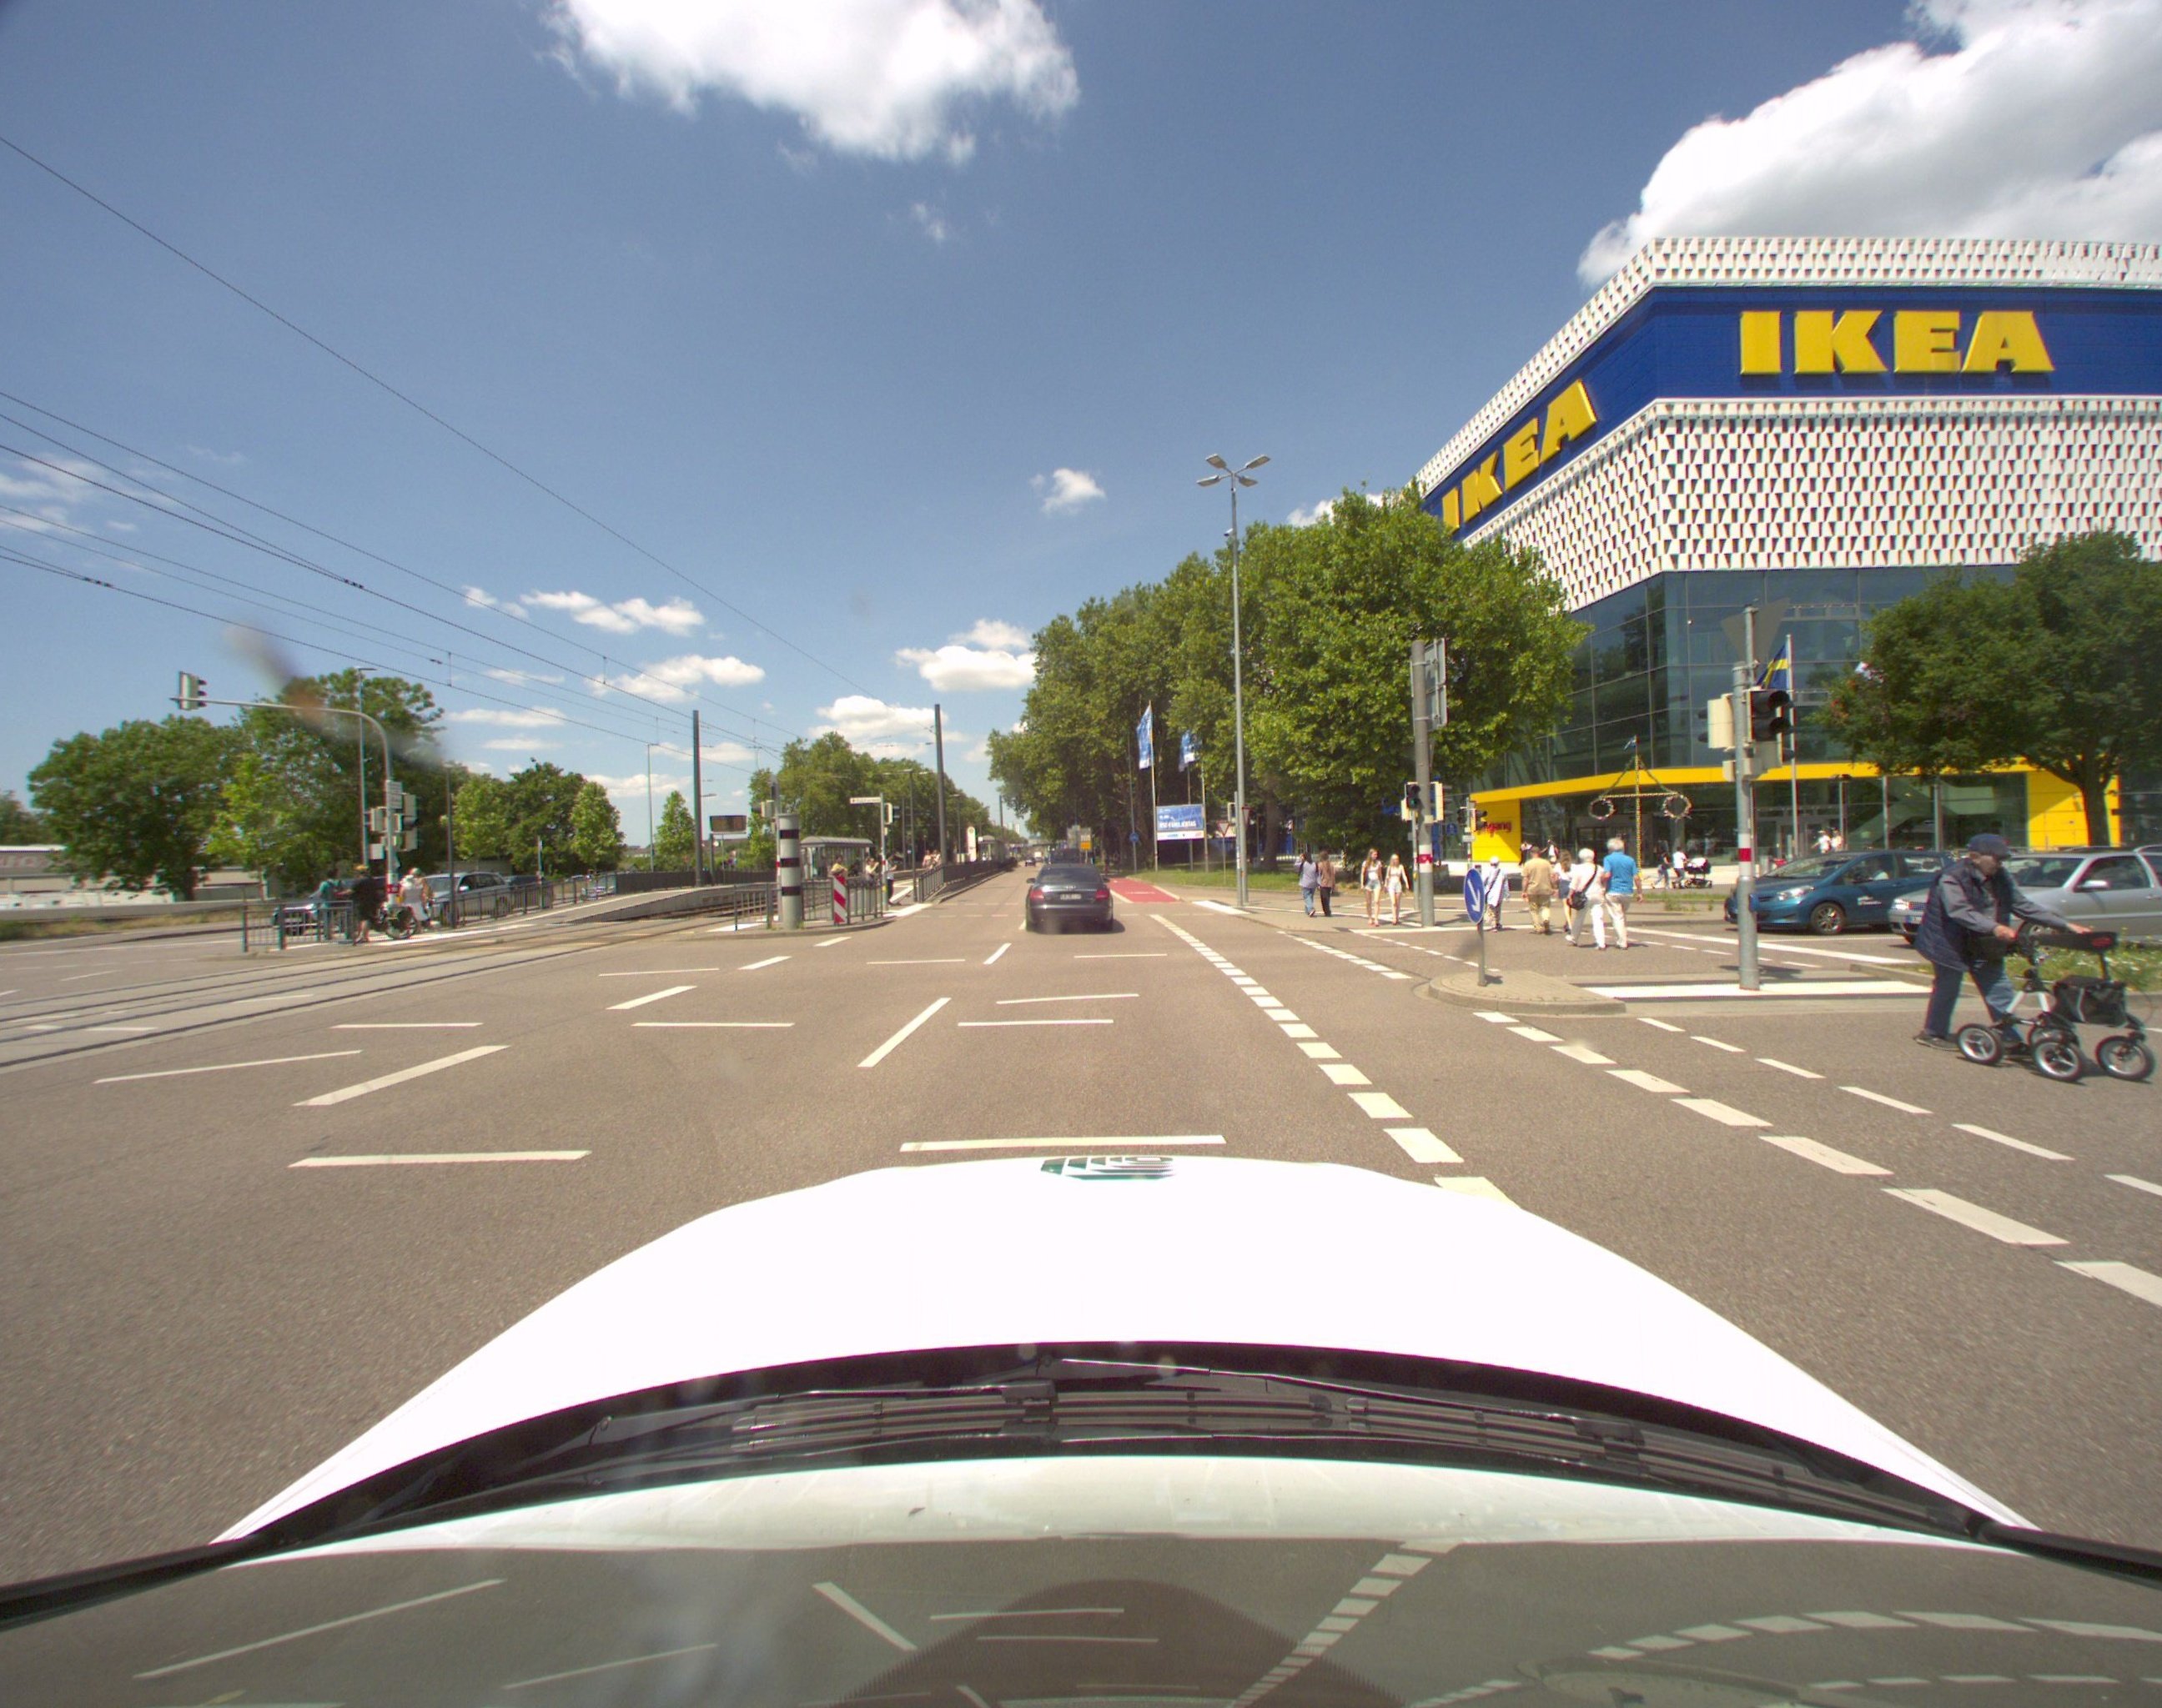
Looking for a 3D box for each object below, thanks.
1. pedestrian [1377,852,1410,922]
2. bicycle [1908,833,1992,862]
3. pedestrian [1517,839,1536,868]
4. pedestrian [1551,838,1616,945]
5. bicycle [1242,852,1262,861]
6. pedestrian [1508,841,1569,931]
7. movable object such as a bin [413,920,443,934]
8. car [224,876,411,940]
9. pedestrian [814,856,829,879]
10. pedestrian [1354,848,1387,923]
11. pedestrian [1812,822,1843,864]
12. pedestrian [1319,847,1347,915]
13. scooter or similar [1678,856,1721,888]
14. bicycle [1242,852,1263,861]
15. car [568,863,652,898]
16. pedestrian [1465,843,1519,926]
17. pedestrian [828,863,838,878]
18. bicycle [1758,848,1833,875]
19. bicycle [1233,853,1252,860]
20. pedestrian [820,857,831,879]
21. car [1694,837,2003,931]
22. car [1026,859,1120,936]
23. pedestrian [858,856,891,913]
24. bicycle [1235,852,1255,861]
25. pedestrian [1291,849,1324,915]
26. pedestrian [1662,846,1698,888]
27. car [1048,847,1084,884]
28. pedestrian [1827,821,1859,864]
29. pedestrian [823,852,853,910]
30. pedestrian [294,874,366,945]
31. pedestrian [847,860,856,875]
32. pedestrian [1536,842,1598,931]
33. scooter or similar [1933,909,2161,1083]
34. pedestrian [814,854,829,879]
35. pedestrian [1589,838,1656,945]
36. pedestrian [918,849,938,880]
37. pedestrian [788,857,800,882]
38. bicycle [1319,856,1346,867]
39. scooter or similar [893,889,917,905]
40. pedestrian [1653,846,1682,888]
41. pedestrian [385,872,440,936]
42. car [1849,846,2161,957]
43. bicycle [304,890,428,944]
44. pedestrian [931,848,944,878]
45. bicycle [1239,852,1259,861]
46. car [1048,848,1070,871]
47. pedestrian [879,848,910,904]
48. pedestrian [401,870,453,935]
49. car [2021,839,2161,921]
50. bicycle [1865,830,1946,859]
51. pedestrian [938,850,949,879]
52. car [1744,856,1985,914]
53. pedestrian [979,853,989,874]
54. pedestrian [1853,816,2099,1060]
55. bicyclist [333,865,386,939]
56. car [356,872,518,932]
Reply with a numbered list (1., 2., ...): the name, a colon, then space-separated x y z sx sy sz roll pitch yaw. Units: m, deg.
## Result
1. pedestrian: 7.211 0.750 18.806 0.525 1.580 0.612 -1 0 1
2. bicycle: 38.059 -0.270 35.702 0.801 1.199 2.420 -1 0 -16
3. pedestrian: 27.360 -0.041 50.040 0.776 1.736 0.743 -1 0 9
4. pedestrian: 7.967 0.591 12.947 0.601 1.638 0.867 -1 -2 14
5. bicycle: 22.645 0.320 107.799 2.543 1.111 0.756 -1 0 -8
6. pedestrian: 8.673 0.598 15.476 0.789 1.659 0.855 -1 0 14
7. movable object such as a bin: -17.342 1.934 21.639 0.570 0.321 0.228 -2 0 -7
8. car: -23.213 1.581 25.002 1.988 1.629 3.998 -1 0 -2
9. pedestrian: -18.928 0.976 59.414 0.817 1.638 0.582 -2 0 34
10. pedestrian: 6.607 0.709 18.608 0.525 1.666 0.640 -1 0 2
11. pedestrian: 36.195 -0.540 39.494 0.792 2.013 0.735 -1 0 9
12. pedestrian: 6.427 0.682 20.800 0.618 1.683 0.729 -1 0 15
13. scooter or similar: 23.700 0.667 31.223 1.072 1.198 0.727 -1 0 -5
14. bicycle: 22.487 0.311 106.725 2.543 1.111 0.756 -1 0 -8
15. car: -23.788 1.305 41.343 1.988 1.629 3.998 -1 0 -1
16. pedestrian: 8.381 0.612 16.637 0.789 1.659 0.855 -1 0 14
17. pedestrian: -18.886 1.274 62.068 0.575 1.094 0.638 -2 0 -2
18. bicycle: 31.426 0.320 35.887 0.801 1.145 2.420 -1 0 -16
19. bicycle: 22.094 0.360 111.485 2.543 0.970 0.756 -1 0 -8
20. pedestrian: -18.887 1.036 60.187 0.575 1.533 0.638 -2 0 -2
21. car: 13.994 0.515 15.013 3.979 1.555 1.997 -1 0 -4
22. car: -0.296 0.878 18.174 1.839 1.484 3.994 -1 0 -4
23. pedestrian: -5.797 0.847 22.880 0.784 1.572 0.763 -1 0 -6
24. bicycle: 22.211 0.347 110.221 2.543 1.111 0.756 -1 0 -8
25. pedestrian: 5.636 0.683 20.281 0.759 1.606 0.900 -1 0 15
26. pedestrian: 22.852 0.490 31.077 0.917 1.586 0.632 -1 0 -8
27. car: -0.802 0.608 44.876 1.843 1.959 4.143 -1 0 -1
28. pedestrian: 36.053 -0.548 38.553 0.793 2.013 0.734 -1 0 5
29. pedestrian: -7.178 0.790 24.080 0.731 1.673 0.677 -1 0 -6
30. pedestrian: -17.989 1.315 19.527 0.955 1.610 0.762 -1 0 -5
31. pedestrian: -19.633 1.145 69.621 0.575 1.190 0.638 -2 0 -2
32. pedestrian: 9.396 0.614 15.767 0.789 1.659 0.855 -1 0 14
33. scooter or similar: 6.587 0.920 5.539 0.686 1.031 0.864 -1 0 4
34. pedestrian: -18.479 0.911 57.995 0.729 1.729 0.582 -2 0 34
35. pedestrian: 8.549 0.586 12.888 0.598 1.638 0.867 -1 -2 14
36. pedestrian: -8.053 0.538 42.826 0.888 1.605 0.923 -1 0 -4
37. pedestrian: -18.583 0.996 52.671 0.557 1.638 0.804 -1 0 -10
38. bicycle: 22.410 0.651 72.619 2.058 0.969 0.867 -1 0 -7
39. scooter or similar: -5.882 1.432 27.227 0.725 0.506 0.456 -1 0 -6
40. pedestrian: 22.824 0.497 31.709 0.609 1.586 0.632 -1 0 -8
41. pedestrian: -17.027 1.264 20.760 0.760 1.548 0.762 -1 0 -5
42. car: 13.717 0.617 11.644 3.812 1.397 1.803 -1 0 -1
43. bicycle: -16.266 1.412 18.581 1.977 1.101 0.760 -1 0 -18
44. pedestrian: -8.146 0.489 46.251 0.612 1.681 0.719 -1 0 -5
45. bicycle: 22.468 0.333 108.977 2.543 1.111 0.756 -1 0 -8
46. car: -1.904 0.468 71.426 1.843 1.959 4.143 -1 0 -1
47. pedestrian: -6.168 0.726 26.986 0.861 1.802 0.881 -1 0 -7
48. pedestrian: -17.693 1.300 22.051 0.760 1.672 0.762 -1 0 -5
49. car: 20.928 0.439 15.408 4.391 1.443 1.851 -1 0 -4
50. bicycle: 36.342 -0.410 35.933 0.801 1.199 2.420 -1 0 -16
51. pedestrian: -7.595 0.582 44.986 0.496 1.577 0.556 -2 0 -4
52. car: 20.142 0.788 21.119 4.282 1.418 1.736 -1 -1 8
53. pedestrian: -7.921 0.790 66.839 0.731 1.665 0.741 -1 0 -4
54. pedestrian: 6.612 0.581 6.085 0.778 1.672 0.948 -1 0 4
55. bicyclist: -16.321 1.063 18.442 0.666 1.615 0.729 0 -1 -19
56. car: -20.212 1.449 25.809 1.988 1.629 3.998 -1 0 -1
